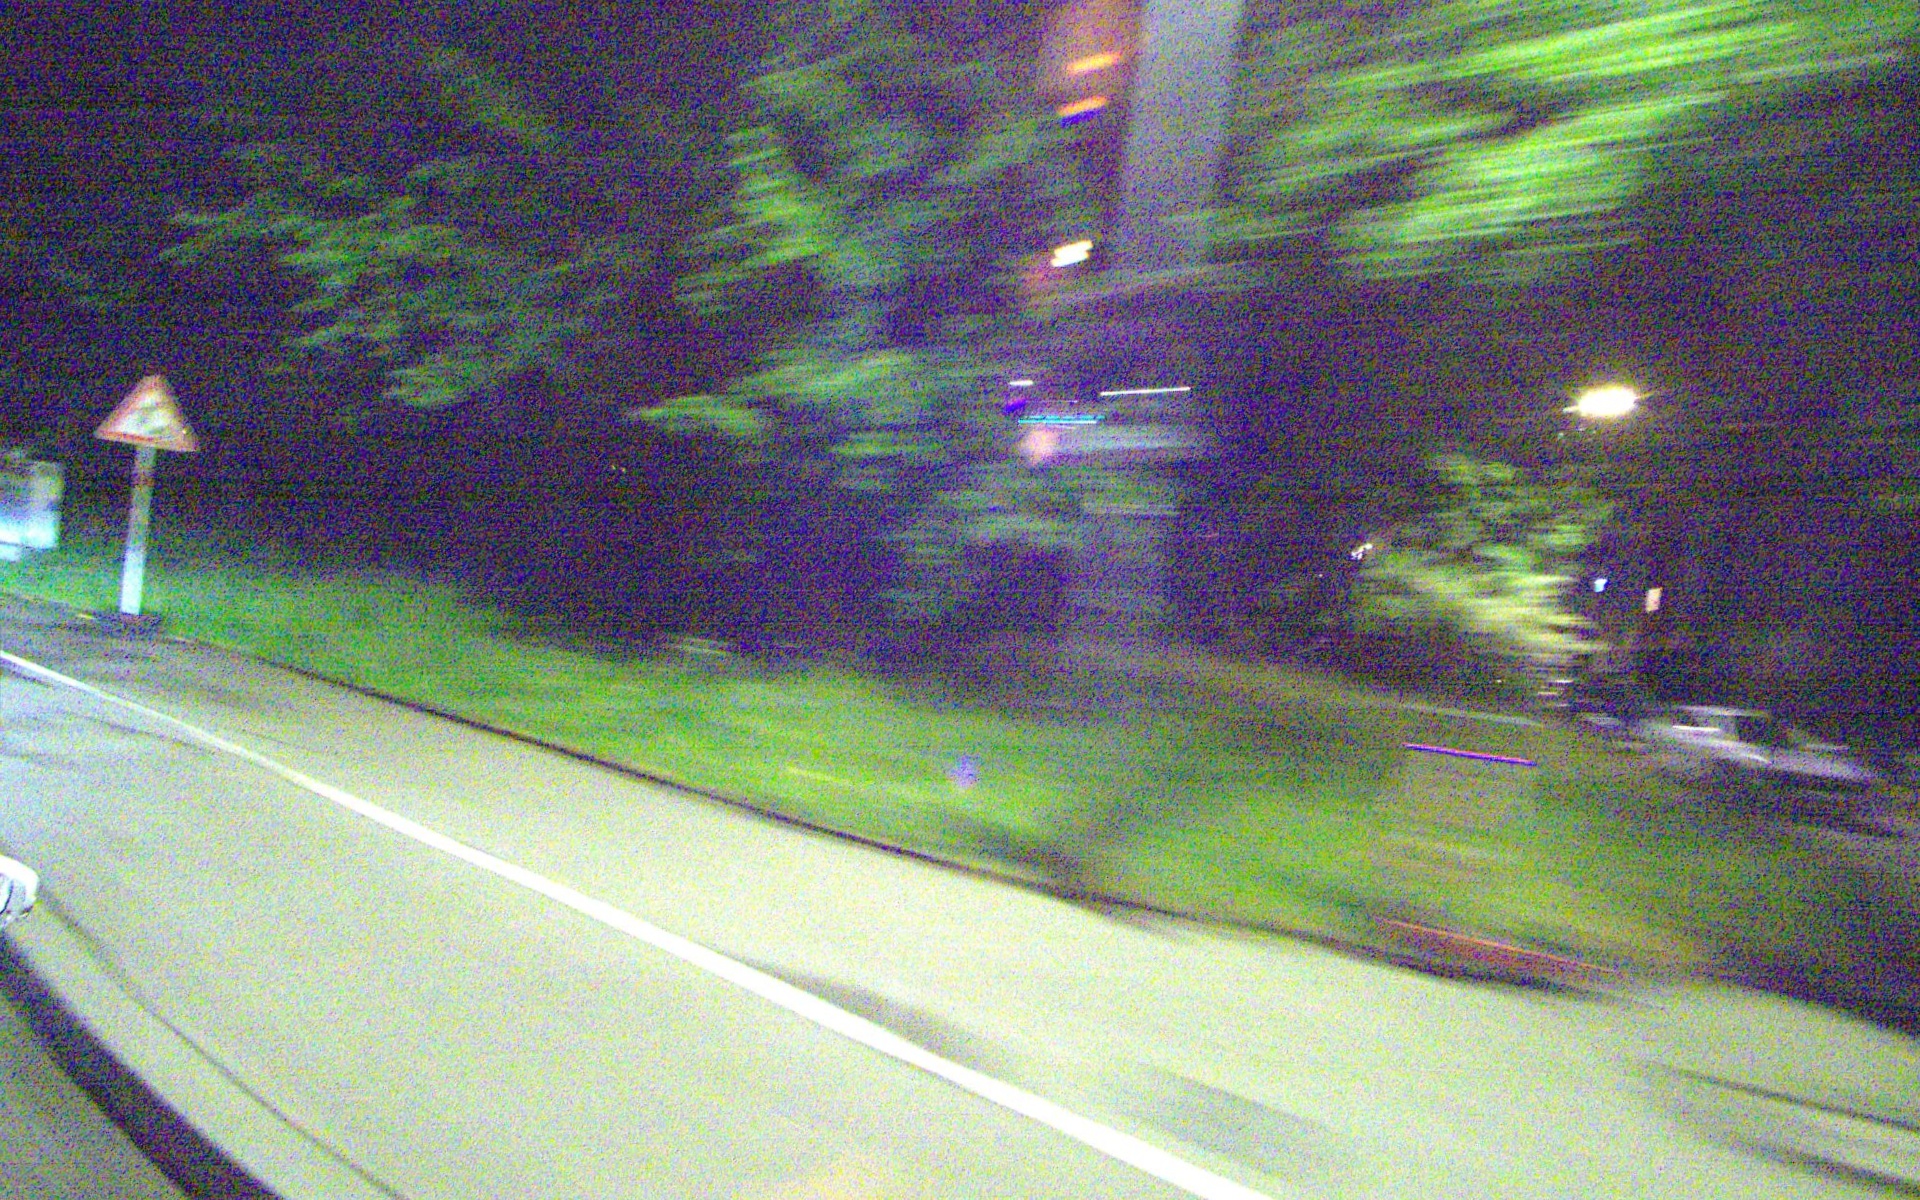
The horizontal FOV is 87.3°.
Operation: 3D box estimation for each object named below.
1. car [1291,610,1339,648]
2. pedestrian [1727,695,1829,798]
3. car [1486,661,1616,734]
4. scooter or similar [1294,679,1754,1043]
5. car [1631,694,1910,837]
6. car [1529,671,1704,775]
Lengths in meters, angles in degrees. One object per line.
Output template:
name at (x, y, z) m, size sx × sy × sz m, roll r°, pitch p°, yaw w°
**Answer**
car at (18.455, 1.524, 52.426) m, size 1.962 × 1.693 × 4.000 m, roll 7°, pitch 0°, yaw 16°
pedestrian at (15.349, 2.715, 18.920) m, size 0.670 × 1.697 × 1.334 m, roll 8°, pitch 0°, yaw 6°
car at (15.938, 2.581, 27.383) m, size 1.962 × 1.471 × 4.000 m, roll 7°, pitch 0°, yaw 16°
scooter or similar at (2.595, 1.165, 4.820) m, size 1.658 × 1.296 × 0.614 m, roll 9°, pitch 0°, yaw 12°
car at (12.433, 2.450, 15.808) m, size 1.909 × 1.471 × 3.901 m, roll 7°, pitch 0°, yaw 16°
car at (14.274, 2.600, 22.174) m, size 1.962 × 1.652 × 4.000 m, roll 7°, pitch 0°, yaw 16°
